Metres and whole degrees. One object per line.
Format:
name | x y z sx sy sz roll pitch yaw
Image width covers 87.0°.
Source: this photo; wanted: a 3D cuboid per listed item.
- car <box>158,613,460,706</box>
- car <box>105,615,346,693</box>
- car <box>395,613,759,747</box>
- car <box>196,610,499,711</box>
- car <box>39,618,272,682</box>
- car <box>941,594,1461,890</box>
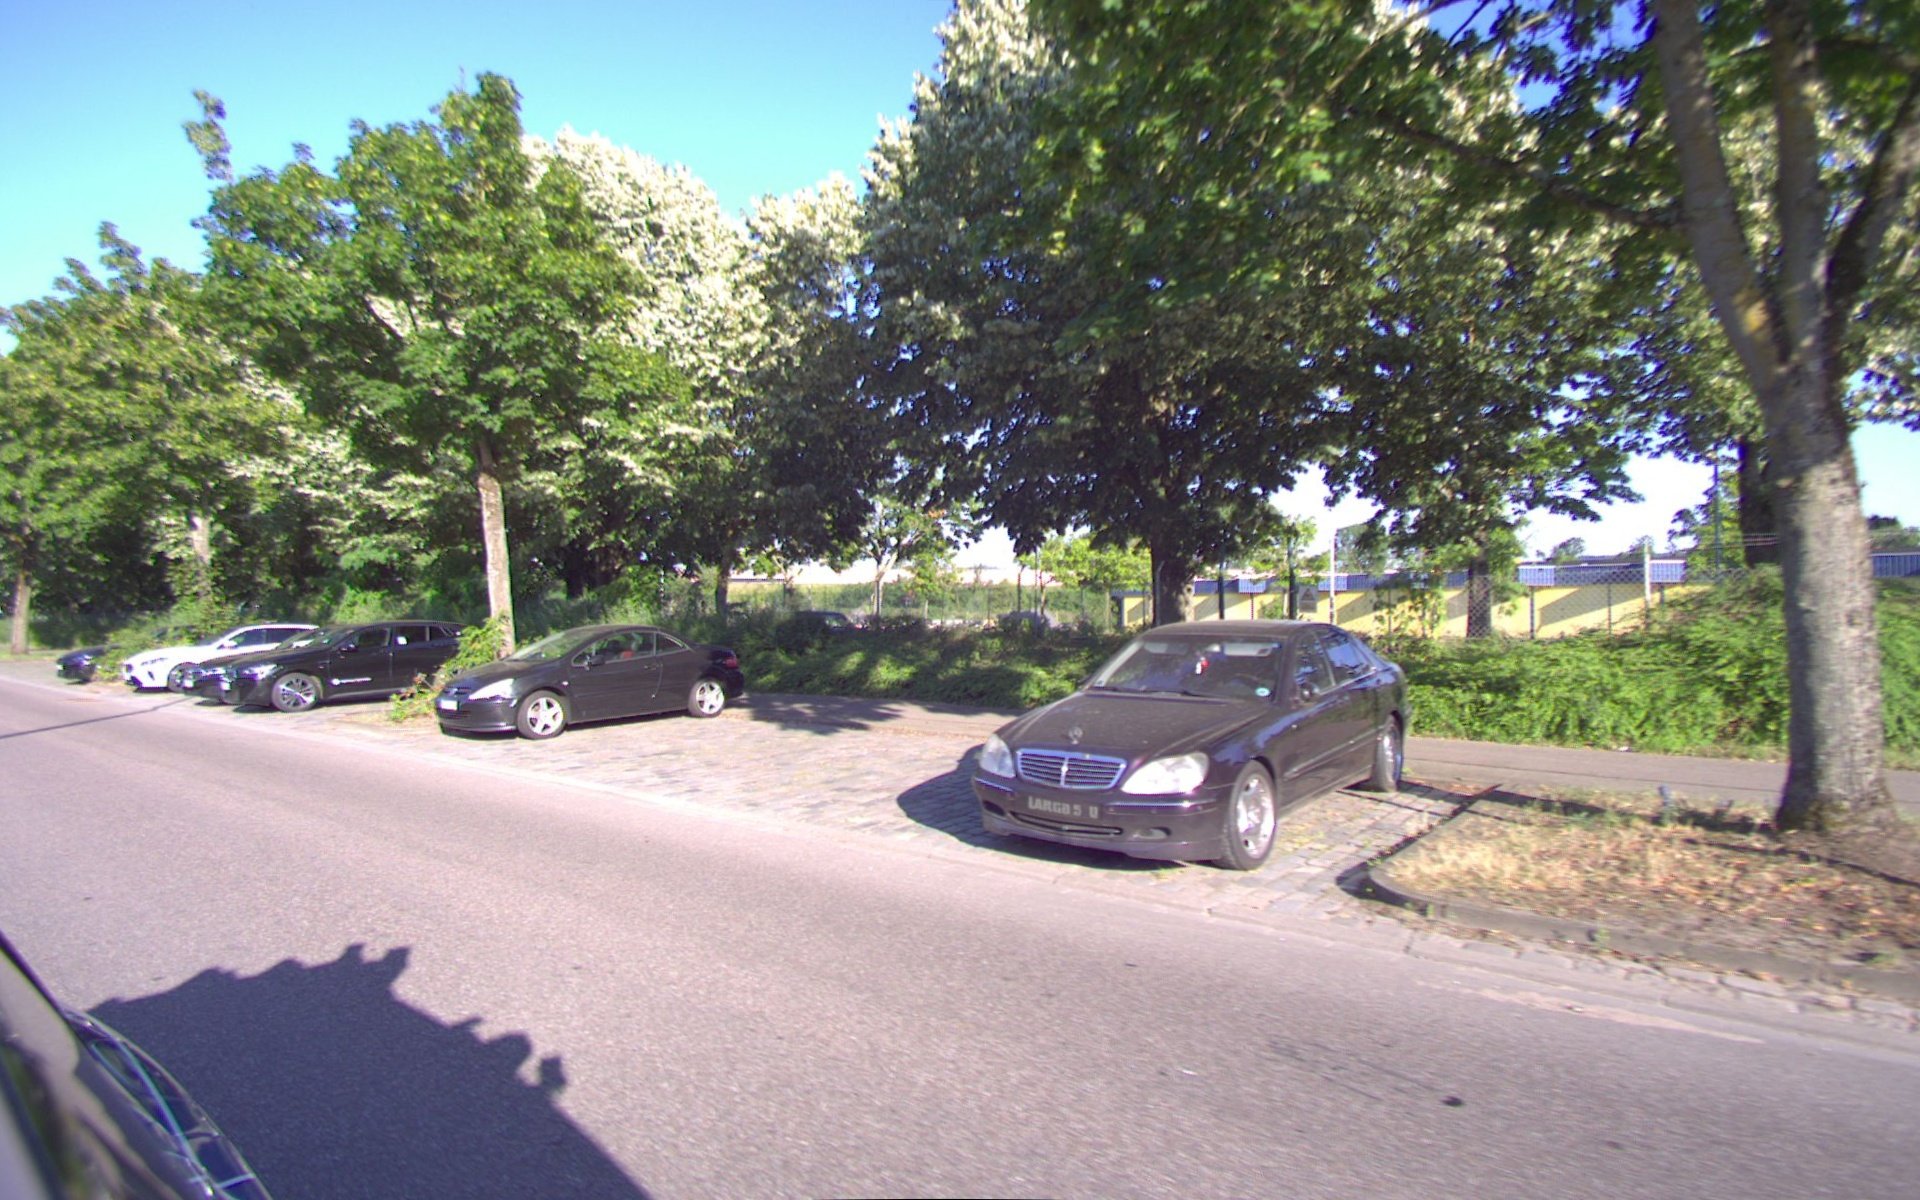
car | -13.109 1.102 20.711 1.995 1.542 4.808 -1 0 35
car | -17.186 1.181 23.845 1.998 1.542 4.244 -1 0 39
car | -5.237 0.985 14.375 1.998 1.473 4.436 -1 0 38
car | -11.310 1.029 18.952 1.998 1.542 4.436 -1 0 38
car | -21.633 1.279 27.400 1.913 1.432 4.607 -1 0 36
car | 2.211 0.740 7.838 1.998 1.473 4.986 -1 0 38
